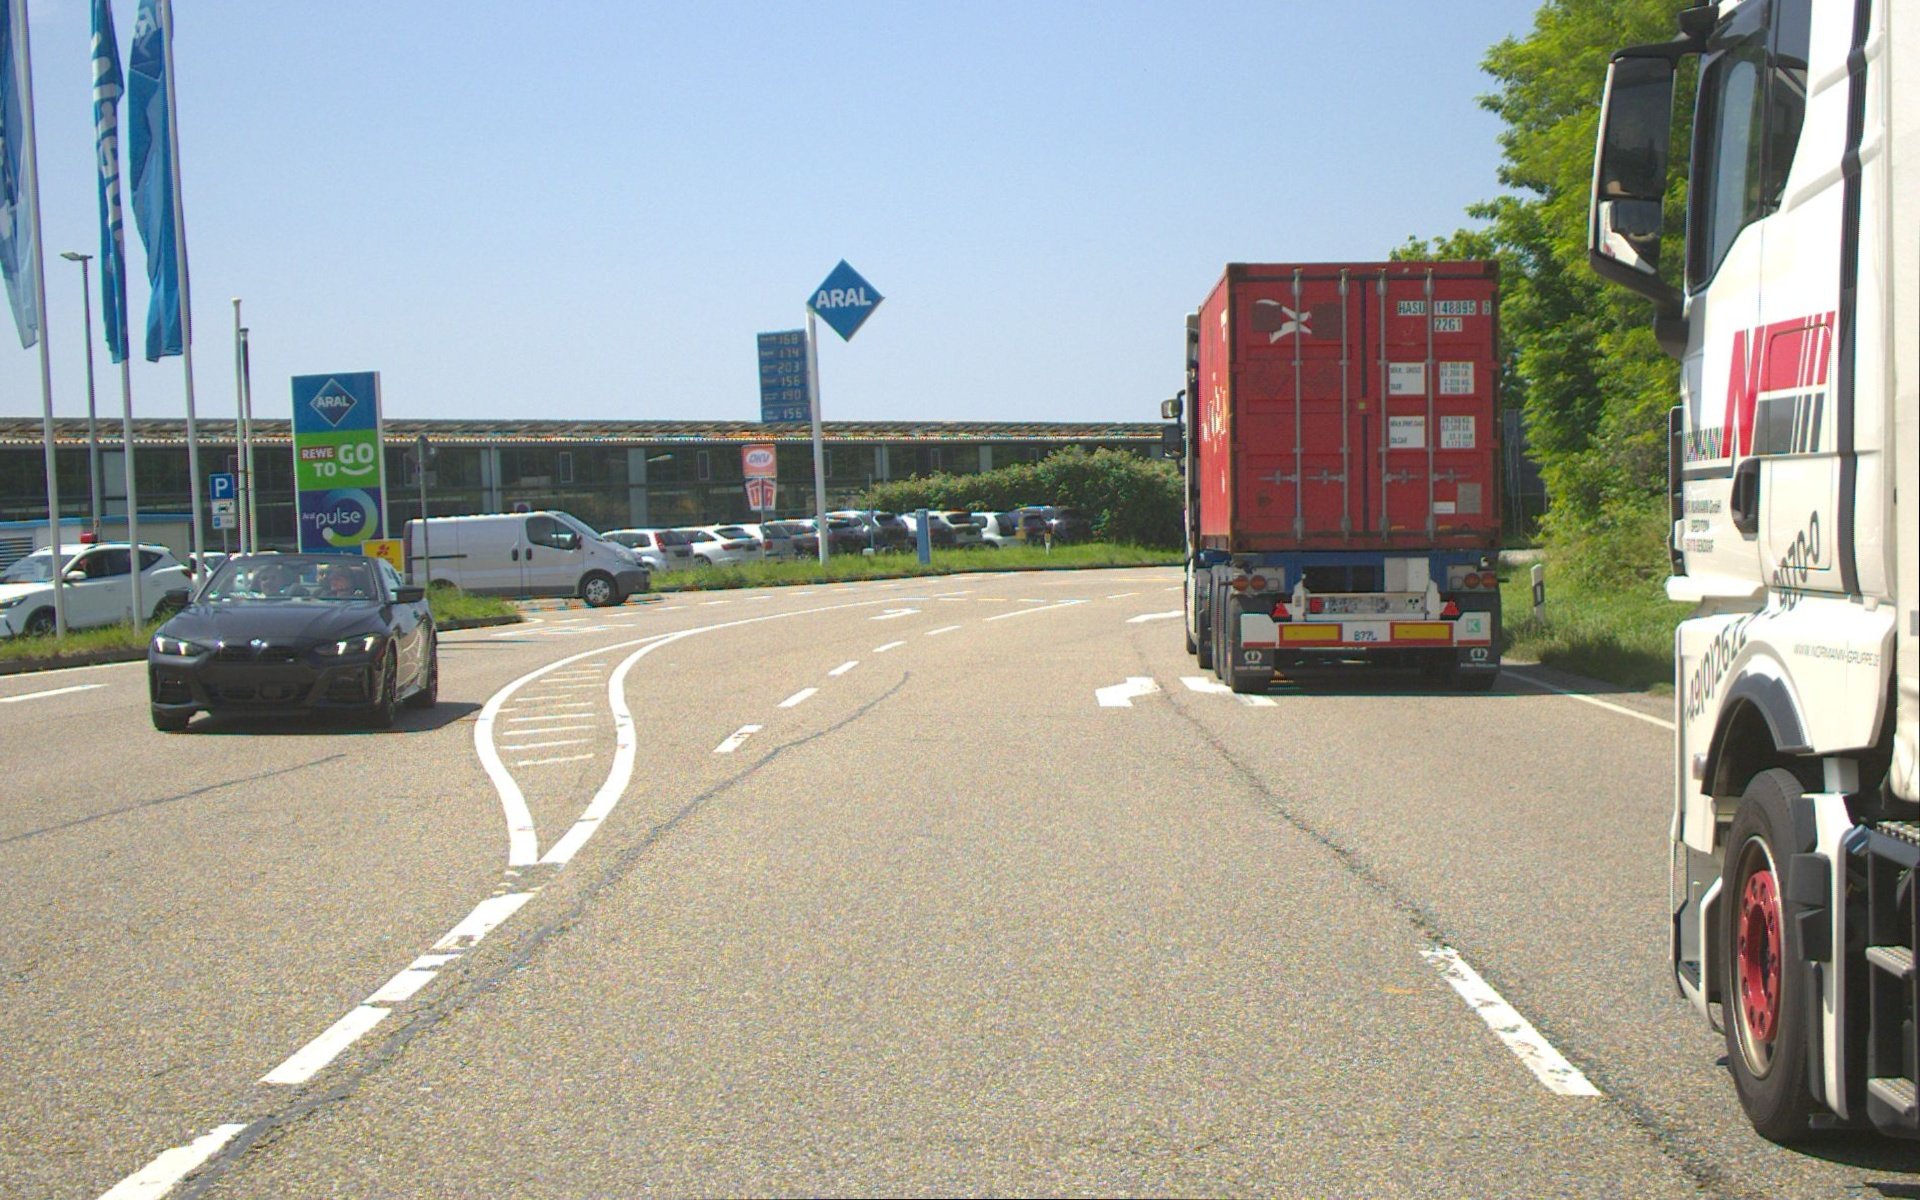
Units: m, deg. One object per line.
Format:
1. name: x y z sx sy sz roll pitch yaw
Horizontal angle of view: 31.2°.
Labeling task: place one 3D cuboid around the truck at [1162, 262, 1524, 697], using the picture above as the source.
1. truck: 3.787 -1.239 37.190 2.648 3.793 13.360 2 1 1

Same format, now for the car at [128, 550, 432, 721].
1. car: -5.376 0.254 27.653 1.848 1.267 4.177 0 0 -3

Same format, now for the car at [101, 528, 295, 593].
1. car: -19.485 -1.004 87.910 4.585 1.498 1.997 -2 1 28

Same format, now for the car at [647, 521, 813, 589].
1. car: -6.143 -1.194 91.771 3.993 1.744 1.931 0 1 30

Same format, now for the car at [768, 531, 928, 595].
1. car: -3.127 -1.005 95.822 3.993 1.744 1.997 0 0 30

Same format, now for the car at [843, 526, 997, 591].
1. car: -1.185 -1.226 100.540 3.993 1.744 1.997 -2 1 30

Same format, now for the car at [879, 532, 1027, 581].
1. car: -0.221 -1.304 102.777 3.993 1.313 1.831 -2 1 27

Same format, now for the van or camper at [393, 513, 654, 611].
1. van or camper: -8.600 -0.739 67.964 4.848 1.898 1.904 0 0 4

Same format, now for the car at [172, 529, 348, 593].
1. car: -18.270 -1.012 89.761 4.129 1.498 1.997 -2 1 28

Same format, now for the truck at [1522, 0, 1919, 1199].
1. truck: 3.153 -0.647 1.370 2.973 4.080 17.635 0 0 0

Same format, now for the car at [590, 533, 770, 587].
1. car: -7.252 -1.032 89.022 4.243 1.354 1.997 0 1 28

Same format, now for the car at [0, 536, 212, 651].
1. car: -13.889 -0.103 53.137 1.866 1.706 4.510 0 0 34

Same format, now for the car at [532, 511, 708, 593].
1. car: -8.610 -1.216 87.052 3.993 2.007 1.997 0 1 28
